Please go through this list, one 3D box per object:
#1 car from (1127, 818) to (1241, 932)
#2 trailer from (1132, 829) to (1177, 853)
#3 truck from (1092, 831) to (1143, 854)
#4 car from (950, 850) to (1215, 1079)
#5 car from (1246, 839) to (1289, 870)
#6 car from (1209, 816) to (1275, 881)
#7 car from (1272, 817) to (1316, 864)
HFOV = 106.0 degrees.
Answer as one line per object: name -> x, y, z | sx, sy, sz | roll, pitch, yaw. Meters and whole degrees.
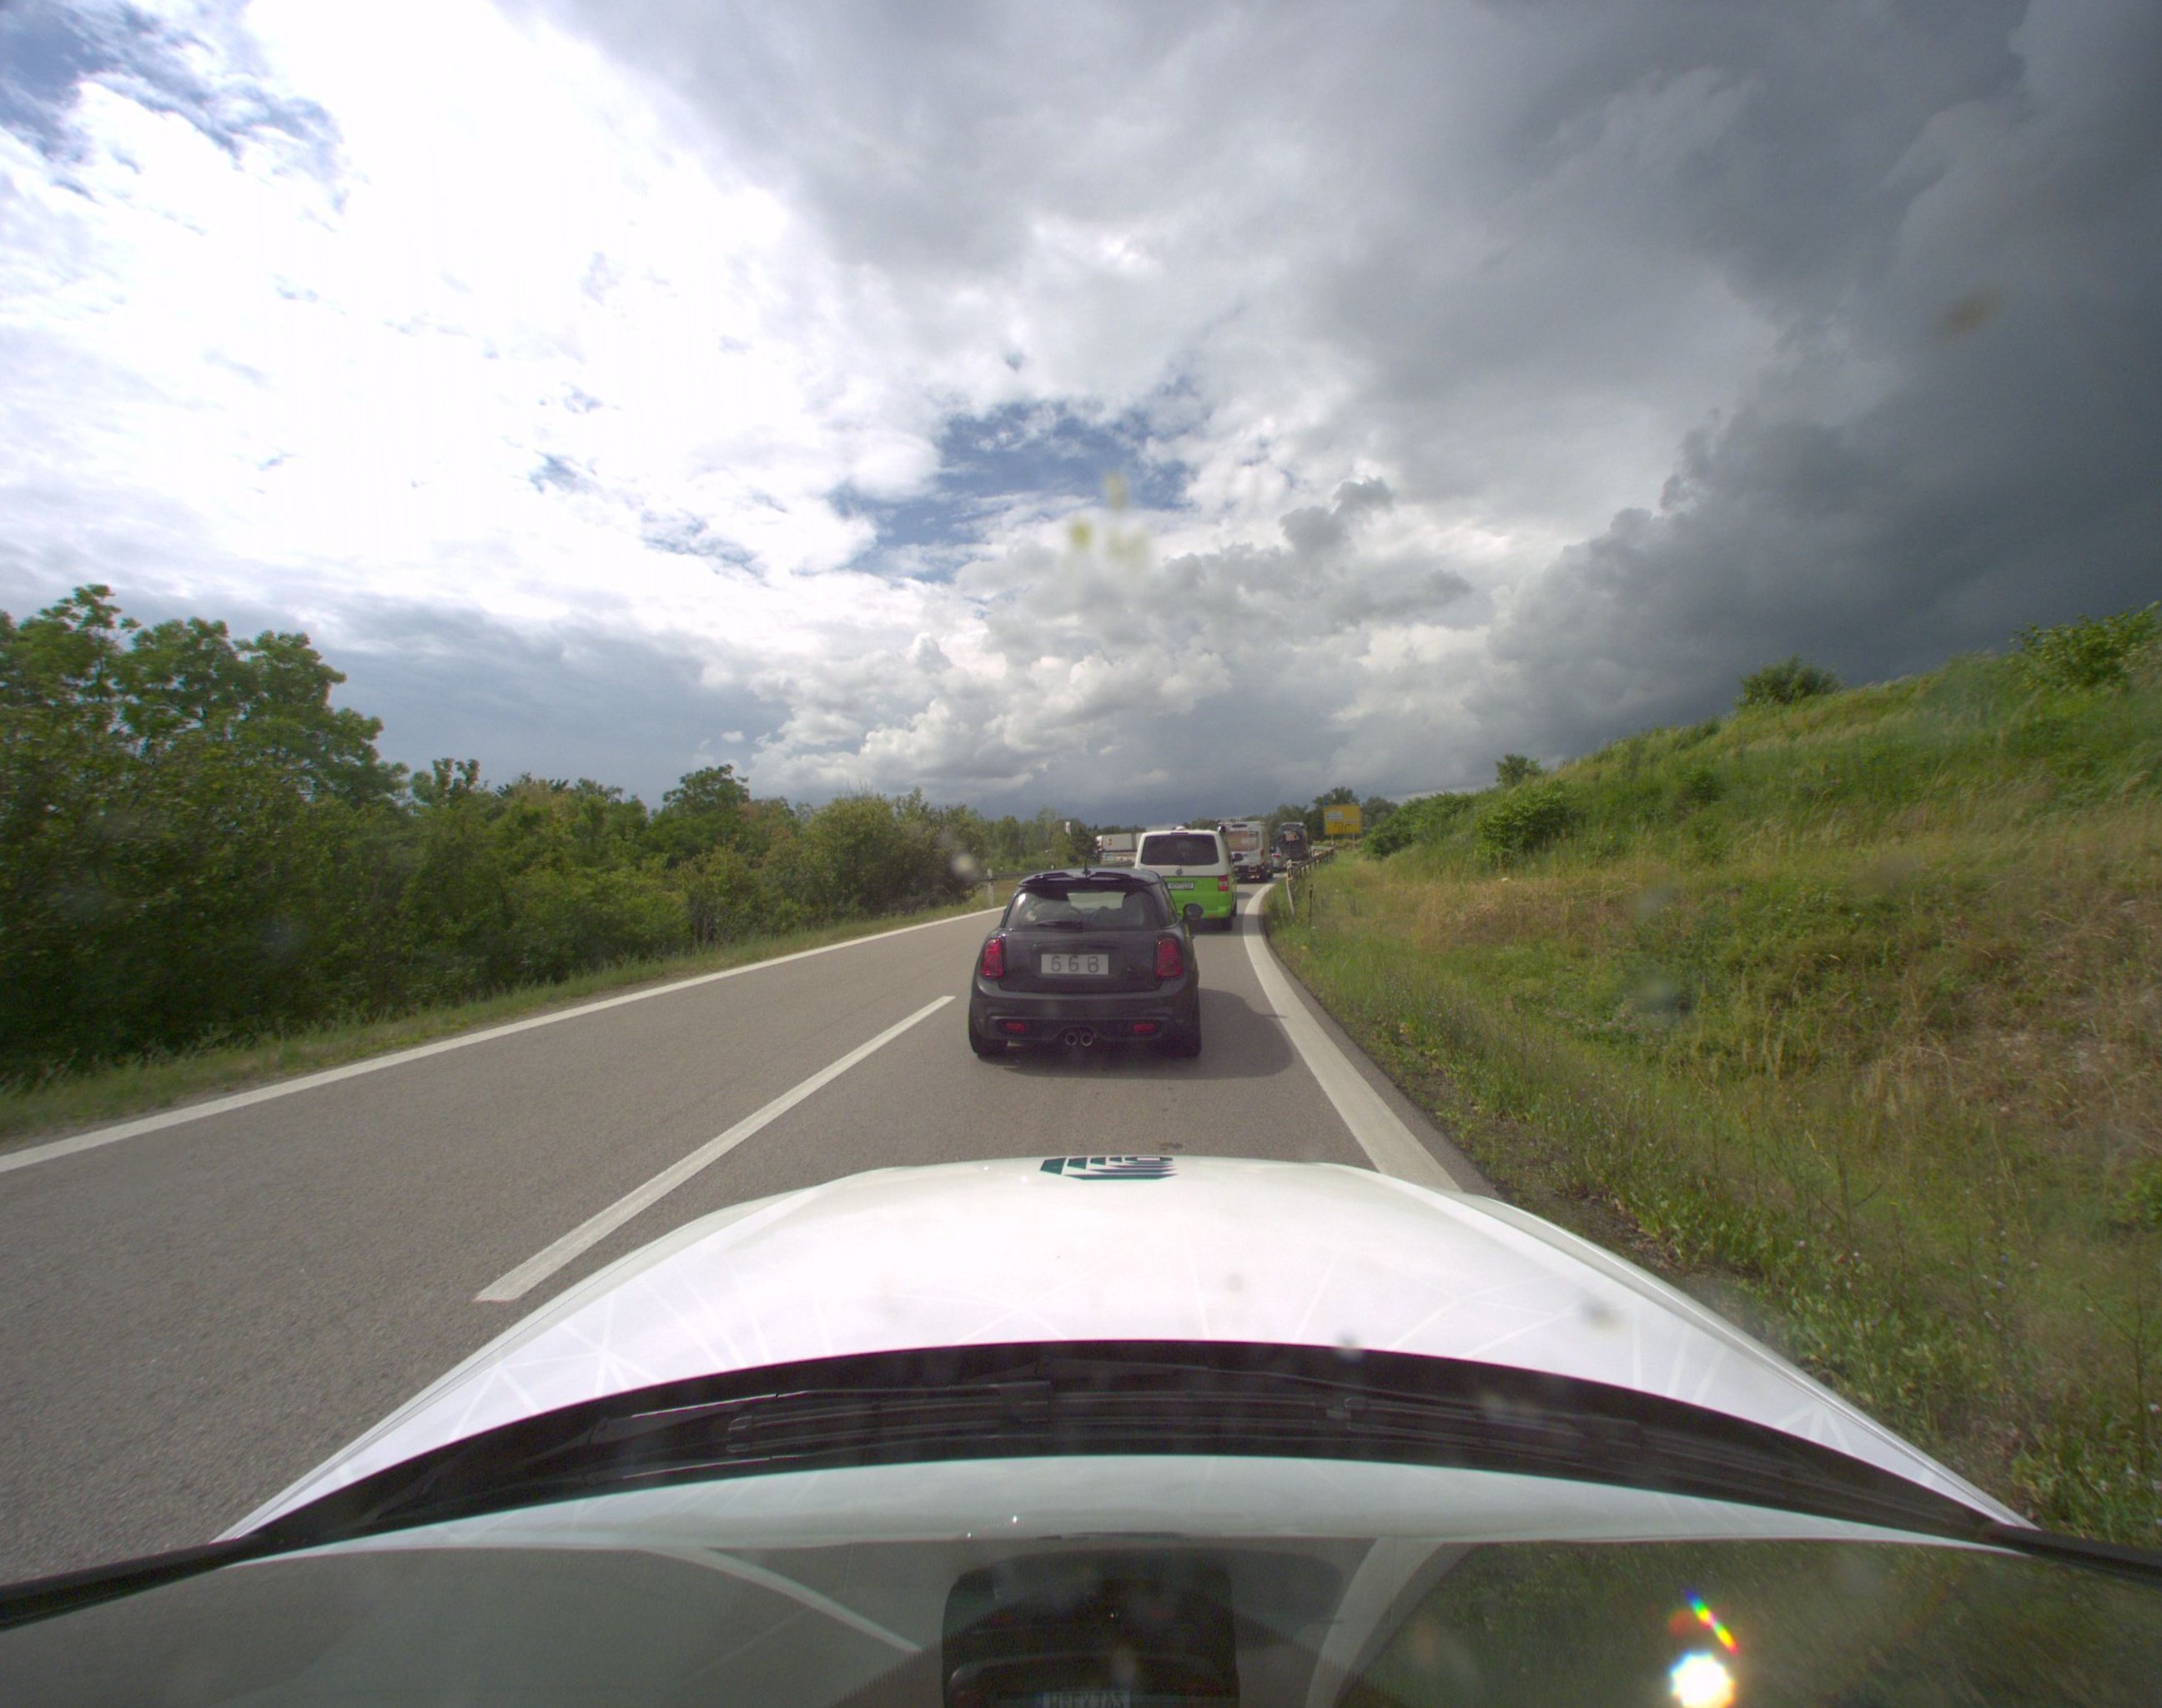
car -> 2.271, 0.389, 16.875 | 1.898, 2.045, 4.196 | -1, 0, 13
trailer -> 12.669, -2.234, 141.396 | 3.058, 3.898, 8.679 | 0, -1, -34
truck -> 6.603, -2.088, 148.460 | 2.862, 3.976, 9.906 | 0, -1, -44
car -> 0.193, 0.751, 7.436 | 1.790, 1.546, 3.745 | -1, 0, 6
car -> 10.316, 0.037, 44.911 | 1.978, 1.642, 3.946 | -1, -1, 17
car -> 7.138, -0.186, 35.637 | 2.194, 2.622, 5.559 | -1, -1, 18
car -> 14.910, -0.846, 56.675 | 2.291, 3.069, 6.696 | -1, -1, 21
